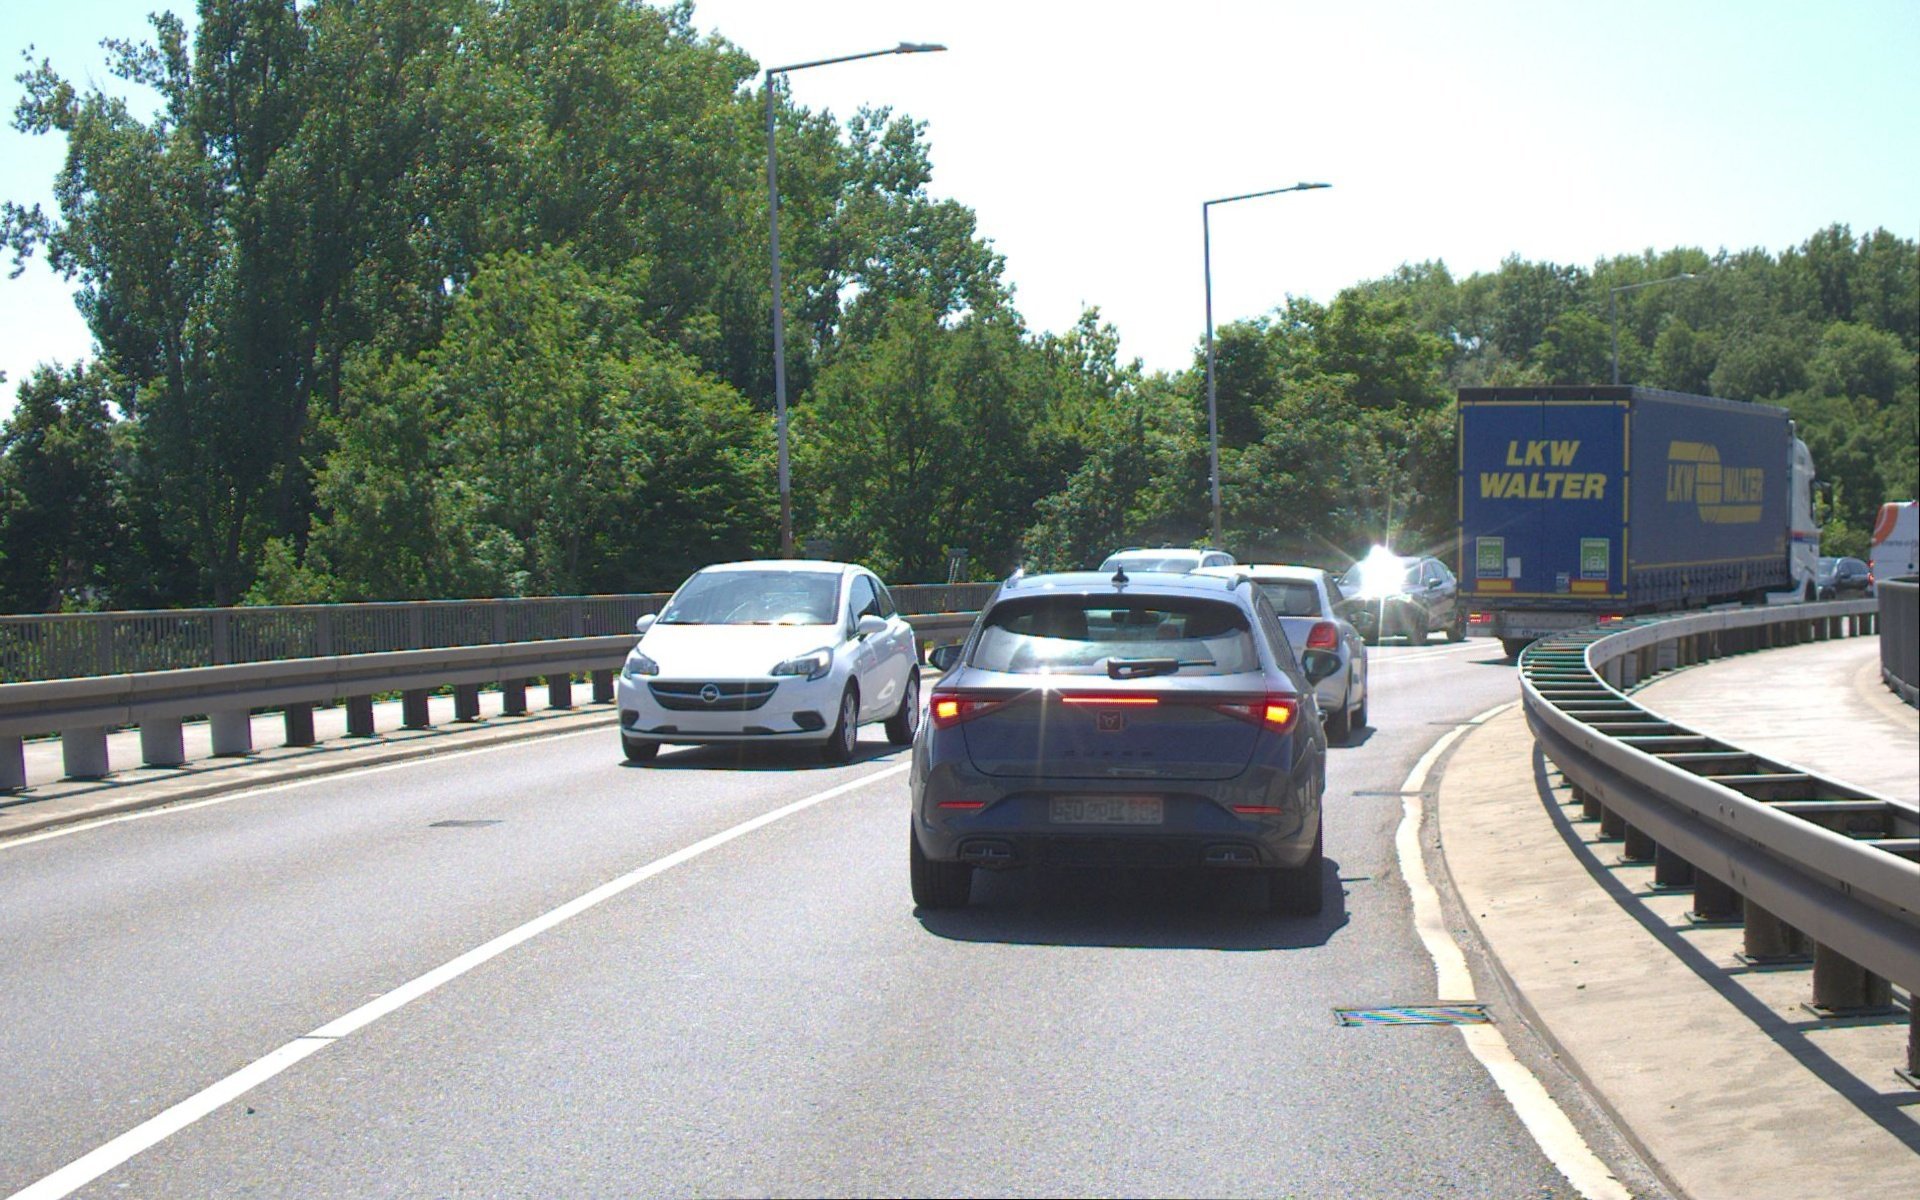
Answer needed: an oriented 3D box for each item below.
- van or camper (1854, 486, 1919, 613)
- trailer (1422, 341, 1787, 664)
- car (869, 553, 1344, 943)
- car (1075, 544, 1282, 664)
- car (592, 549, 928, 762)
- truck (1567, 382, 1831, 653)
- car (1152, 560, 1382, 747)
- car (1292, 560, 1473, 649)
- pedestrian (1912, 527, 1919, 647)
[{"bbox_3d":[21.804,-1.120,75.819,2.207,2.702,5.914,1,1,34],"label":"van or camper"},{"bbox_3d":[10.684,-1.414,55.494,3.138,4.598,12.932,1,0,22],"label":"trailer"},{"bbox_3d":[0.624,0.552,15.358,1.845,1.493,3.758,1,1,2],"label":"car"},{"bbox_3d":[3.112,0.043,48.220,1.717,1.609,4.114,0,0,21],"label":"car"},{"bbox_3d":[-1.435,0.384,26.152,1.726,1.478,3.864,-1,0,9],"label":"car"},{"bbox_3d":[13.396,-1.393,61.814,3.174,4.569,7.387,1,0,24],"label":"truck"},{"bbox_3d":[2.663,0.419,29.235,1.594,1.456,3.543,1,0,10],"label":"car"},{"bbox_3d":[7.364,0.073,59.623,1.889,1.491,4.310,0,0,25],"label":"car"},{"bbox_3d":[15.996,-0.208,56.171,0.737,1.961,0.733,1,0,23],"label":"pedestrian"}]
